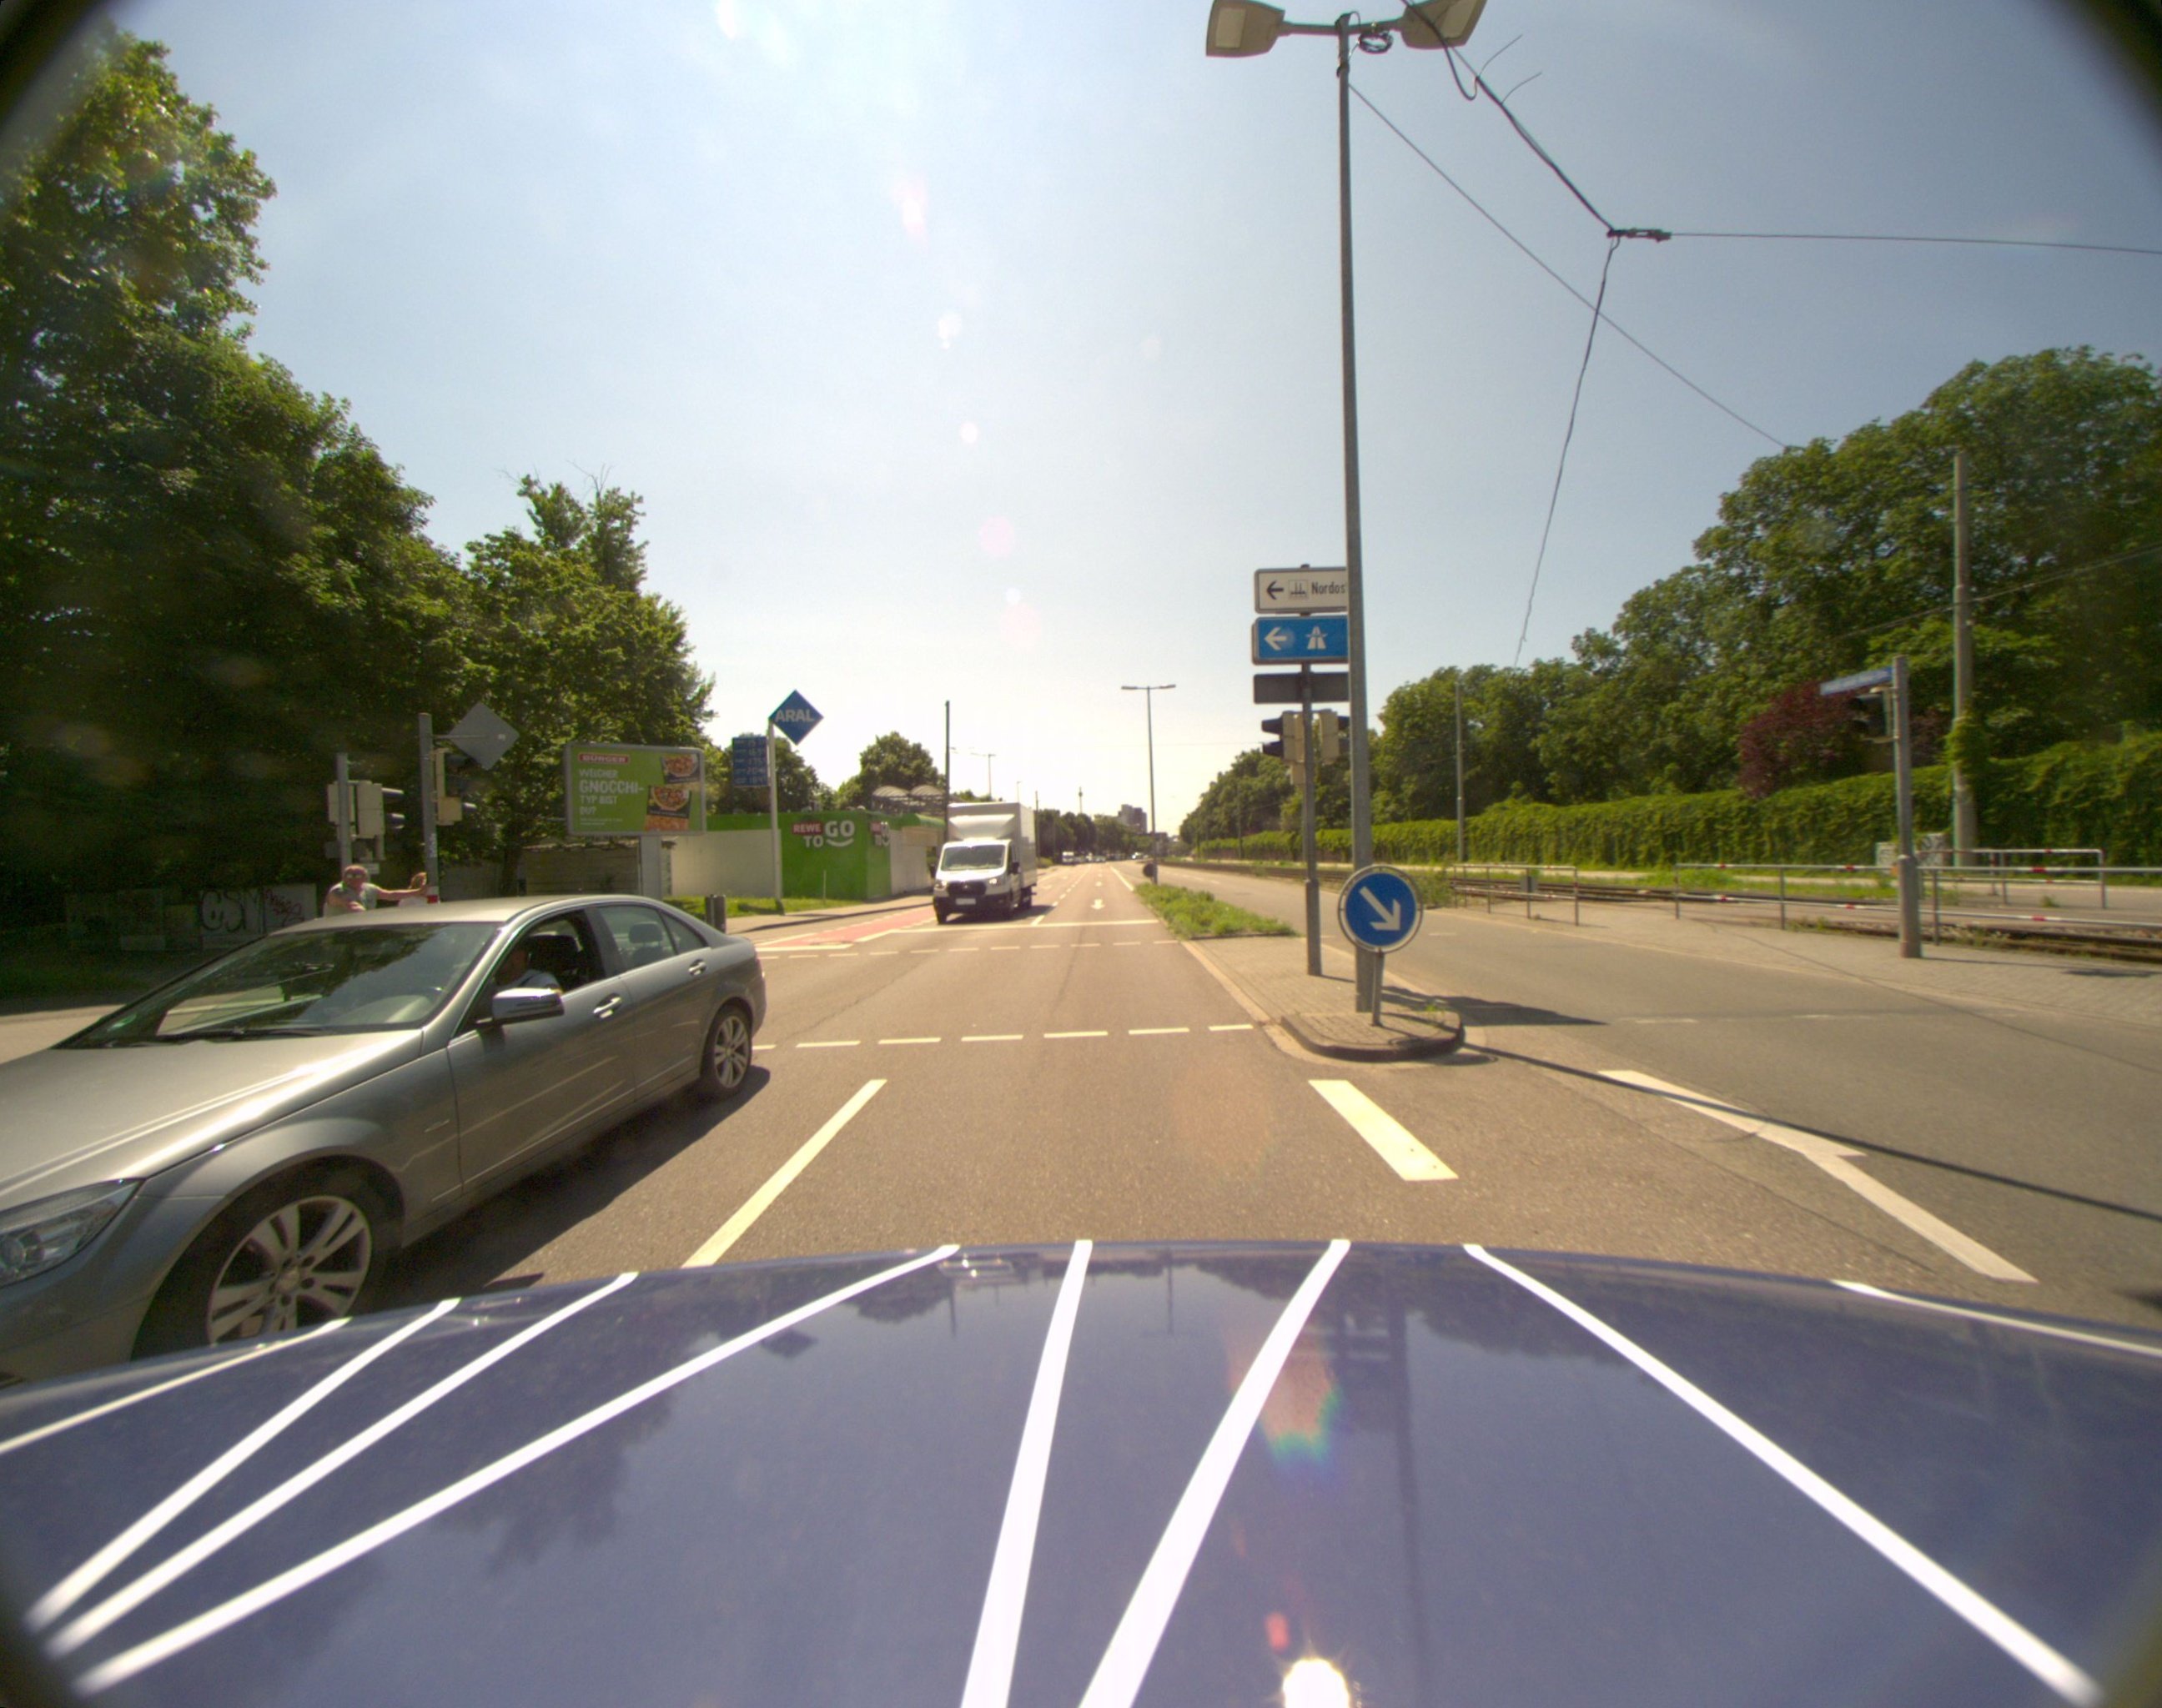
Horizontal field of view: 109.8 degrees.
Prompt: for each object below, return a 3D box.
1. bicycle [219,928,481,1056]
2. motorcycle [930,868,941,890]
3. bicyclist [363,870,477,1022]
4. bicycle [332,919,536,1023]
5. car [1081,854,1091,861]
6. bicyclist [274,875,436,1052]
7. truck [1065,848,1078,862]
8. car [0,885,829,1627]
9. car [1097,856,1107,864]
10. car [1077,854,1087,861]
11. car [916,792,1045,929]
[{"bbox_3d":[-7.902,1.476,8.293,1.954,1.152,0.895,-2,1,1],"label":"bicycle"},{"bbox_3d":[-7.724,1.315,40.259,0.253,1.099,1.117,4,1,2],"label":"motorcycle"},{"bbox_3d":[-8.215,1.117,9.476,0.578,1.777,0.768,-4,1,9],"label":"bicyclist"},{"bbox_3d":[-8.095,1.457,9.560,1.870,1.118,0.895,-3,1,9],"label":"bicycle"},{"bbox_3d":[1.064,0.802,172.404,1.912,1.488,4.001,-4,1,4],"label":"car"},{"bbox_3d":[-7.953,1.155,8.378,0.726,1.777,0.976,-2,1,1],"label":"bicyclist"},{"bbox_3d":[-1.710,0.142,138.761,1.998,2.462,5.237,-4,1,2],"label":"truck"},{"bbox_3d":[-3.238,1.061,4.134,1.717,1.464,5.302,-4,0,2],"label":"car"},{"bbox_3d":[4.368,1.252,159.067,1.947,1.674,3.999,-4,1,0],"label":"car"},{"bbox_3d":[0.250,0.733,163.875,1.912,1.488,4.001,-4,1,4],"label":"car"},{"bbox_3d":[-2.708,0.155,23.282,2.229,3.316,8.637,-3,0,3],"label":"car"}]
